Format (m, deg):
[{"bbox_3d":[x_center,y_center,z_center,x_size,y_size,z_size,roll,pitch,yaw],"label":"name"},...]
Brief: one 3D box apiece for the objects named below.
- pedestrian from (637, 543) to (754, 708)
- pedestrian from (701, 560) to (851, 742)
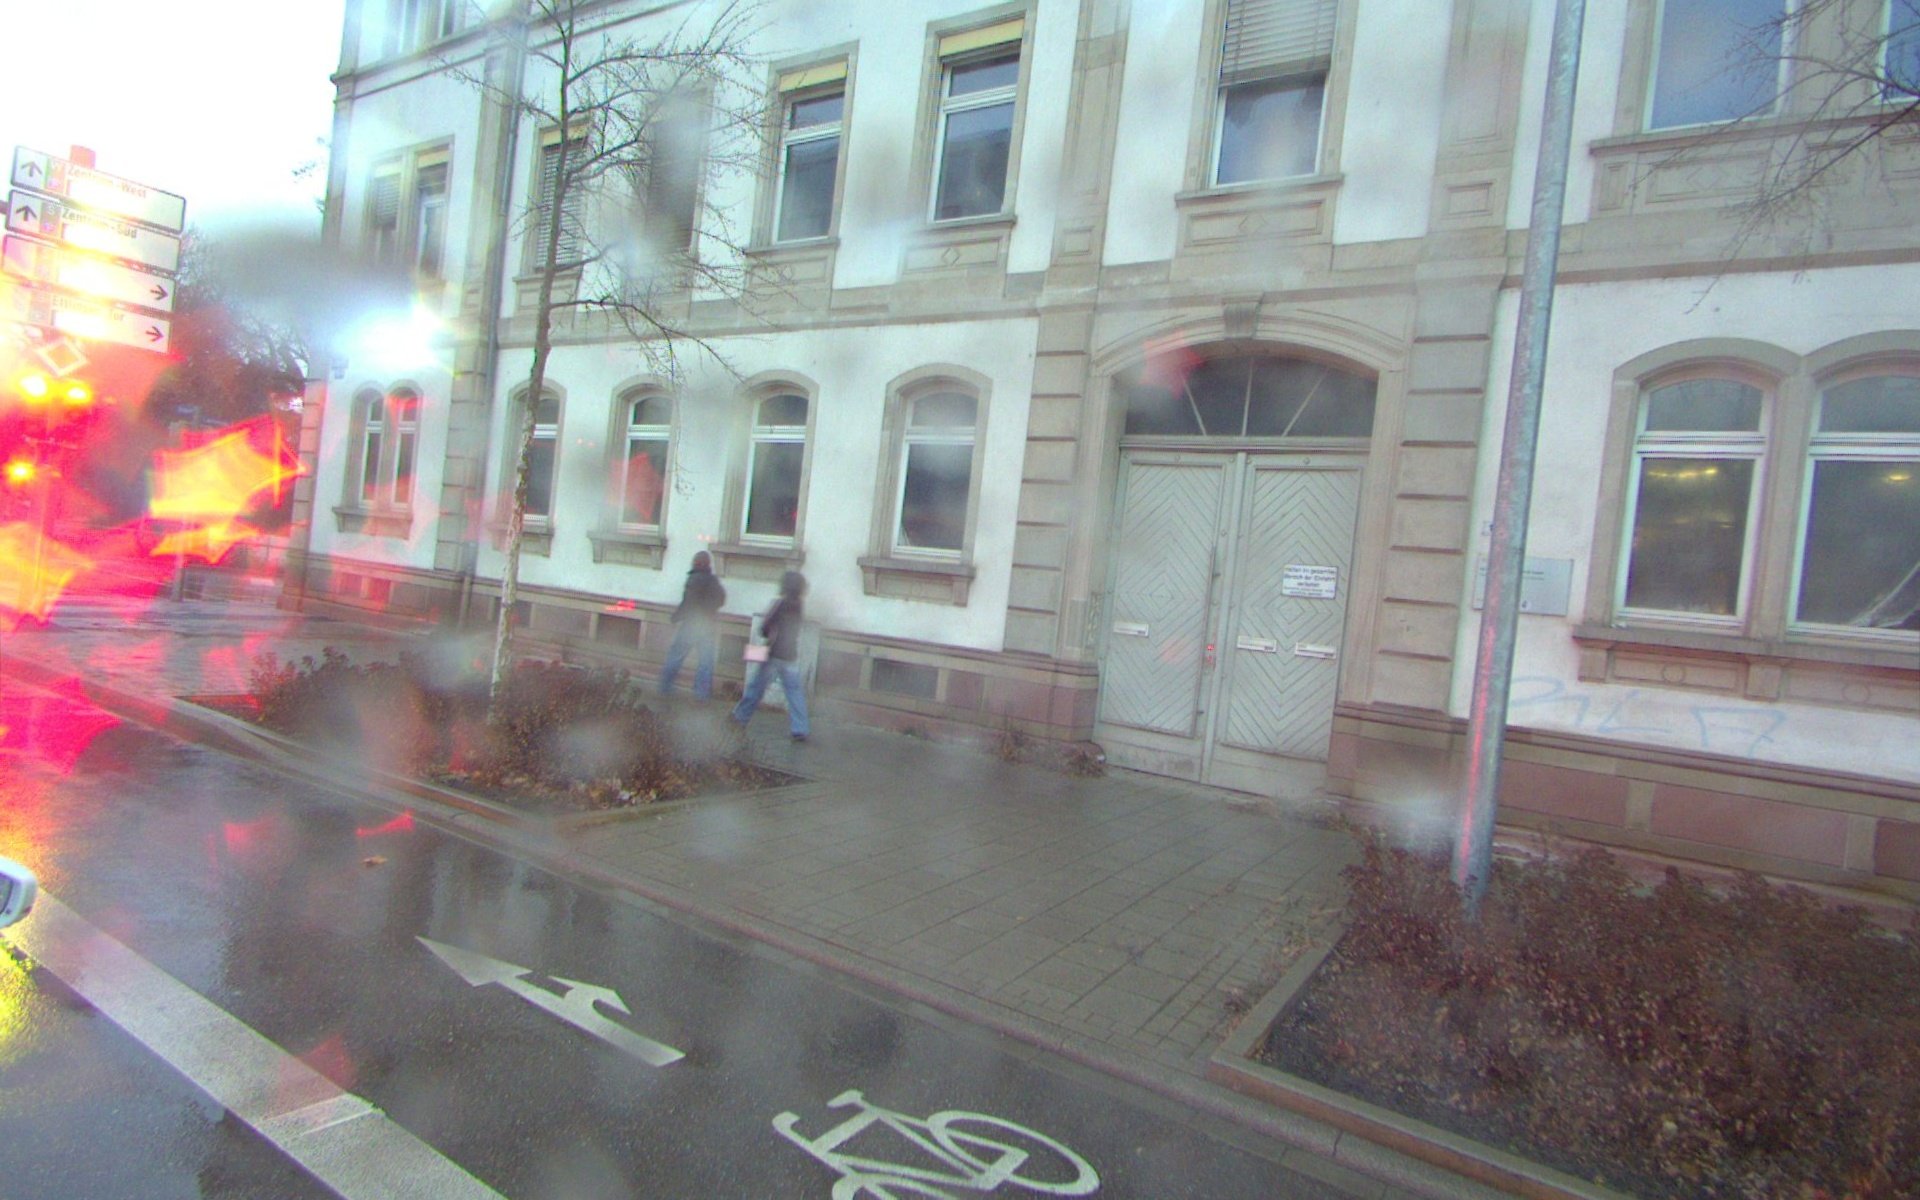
[{"bbox_3d":[-2.918,0.289,11.140,0.694,1.694,0.870,7,1,27],"label":"pedestrian"},{"bbox_3d":[-1.753,0.478,9.624,0.914,1.564,0.869,7,1,32],"label":"pedestrian"}]
